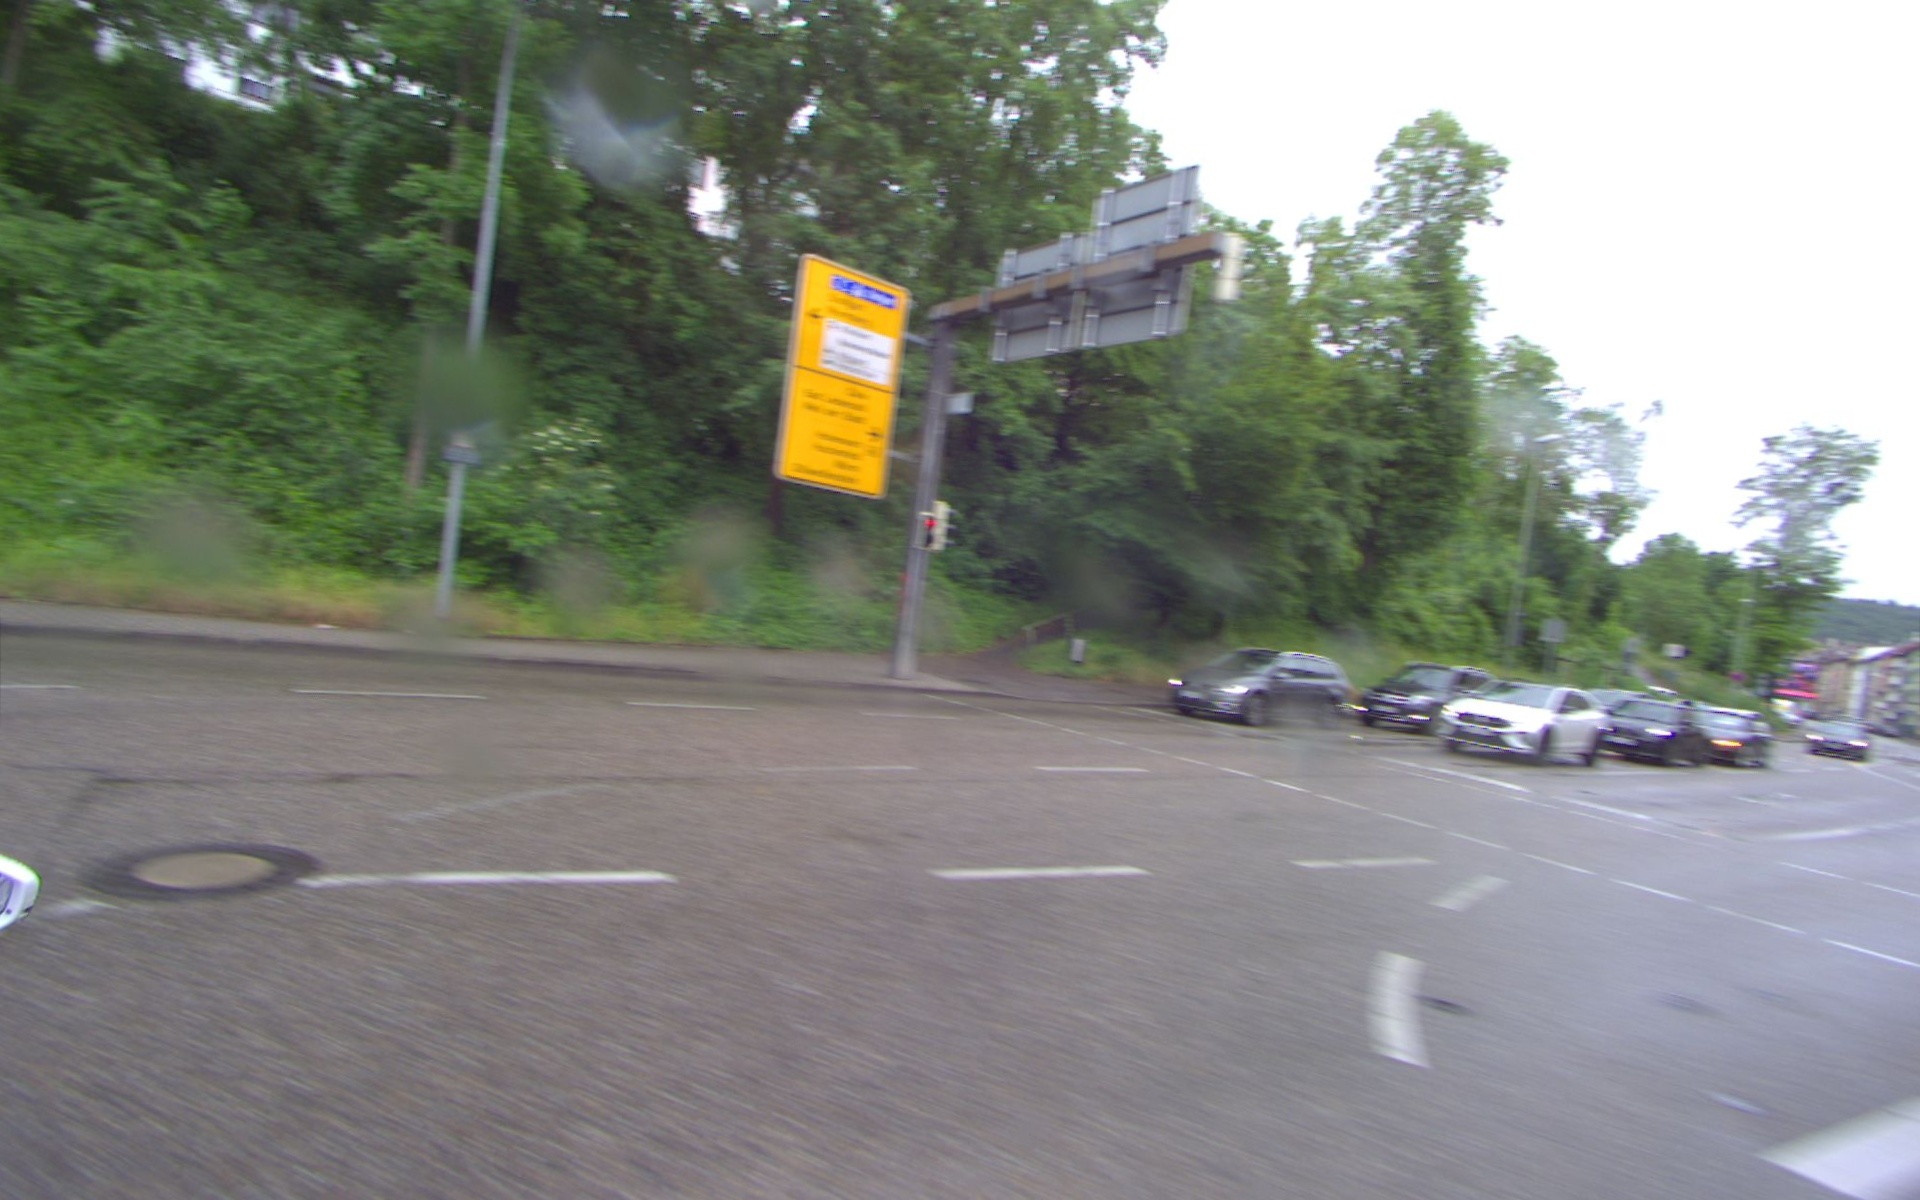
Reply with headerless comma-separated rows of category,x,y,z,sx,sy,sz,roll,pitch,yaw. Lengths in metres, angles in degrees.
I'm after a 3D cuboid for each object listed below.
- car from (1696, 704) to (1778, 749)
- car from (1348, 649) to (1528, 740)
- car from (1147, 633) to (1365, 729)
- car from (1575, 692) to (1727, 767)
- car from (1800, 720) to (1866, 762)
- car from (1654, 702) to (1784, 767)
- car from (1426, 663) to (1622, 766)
car,33.198,5.425,42.926,4.933,1.501,1.995,8,-1,-44
car,11.495,2.301,24.089,4.586,1.717,1.810,7,-1,-36
car,5.999,1.658,20.198,4.299,1.521,1.865,6,0,-36
car,16.430,3.095,23.861,4.124,1.387,1.790,8,-1,-39
car,36.821,5.927,42.392,1.786,1.387,4.133,7,-1,44
car,20.575,3.658,27.224,4.124,1.387,1.790,8,-1,-39
car,10.939,2.238,19.415,4.124,1.580,1.790,8,-1,-39
